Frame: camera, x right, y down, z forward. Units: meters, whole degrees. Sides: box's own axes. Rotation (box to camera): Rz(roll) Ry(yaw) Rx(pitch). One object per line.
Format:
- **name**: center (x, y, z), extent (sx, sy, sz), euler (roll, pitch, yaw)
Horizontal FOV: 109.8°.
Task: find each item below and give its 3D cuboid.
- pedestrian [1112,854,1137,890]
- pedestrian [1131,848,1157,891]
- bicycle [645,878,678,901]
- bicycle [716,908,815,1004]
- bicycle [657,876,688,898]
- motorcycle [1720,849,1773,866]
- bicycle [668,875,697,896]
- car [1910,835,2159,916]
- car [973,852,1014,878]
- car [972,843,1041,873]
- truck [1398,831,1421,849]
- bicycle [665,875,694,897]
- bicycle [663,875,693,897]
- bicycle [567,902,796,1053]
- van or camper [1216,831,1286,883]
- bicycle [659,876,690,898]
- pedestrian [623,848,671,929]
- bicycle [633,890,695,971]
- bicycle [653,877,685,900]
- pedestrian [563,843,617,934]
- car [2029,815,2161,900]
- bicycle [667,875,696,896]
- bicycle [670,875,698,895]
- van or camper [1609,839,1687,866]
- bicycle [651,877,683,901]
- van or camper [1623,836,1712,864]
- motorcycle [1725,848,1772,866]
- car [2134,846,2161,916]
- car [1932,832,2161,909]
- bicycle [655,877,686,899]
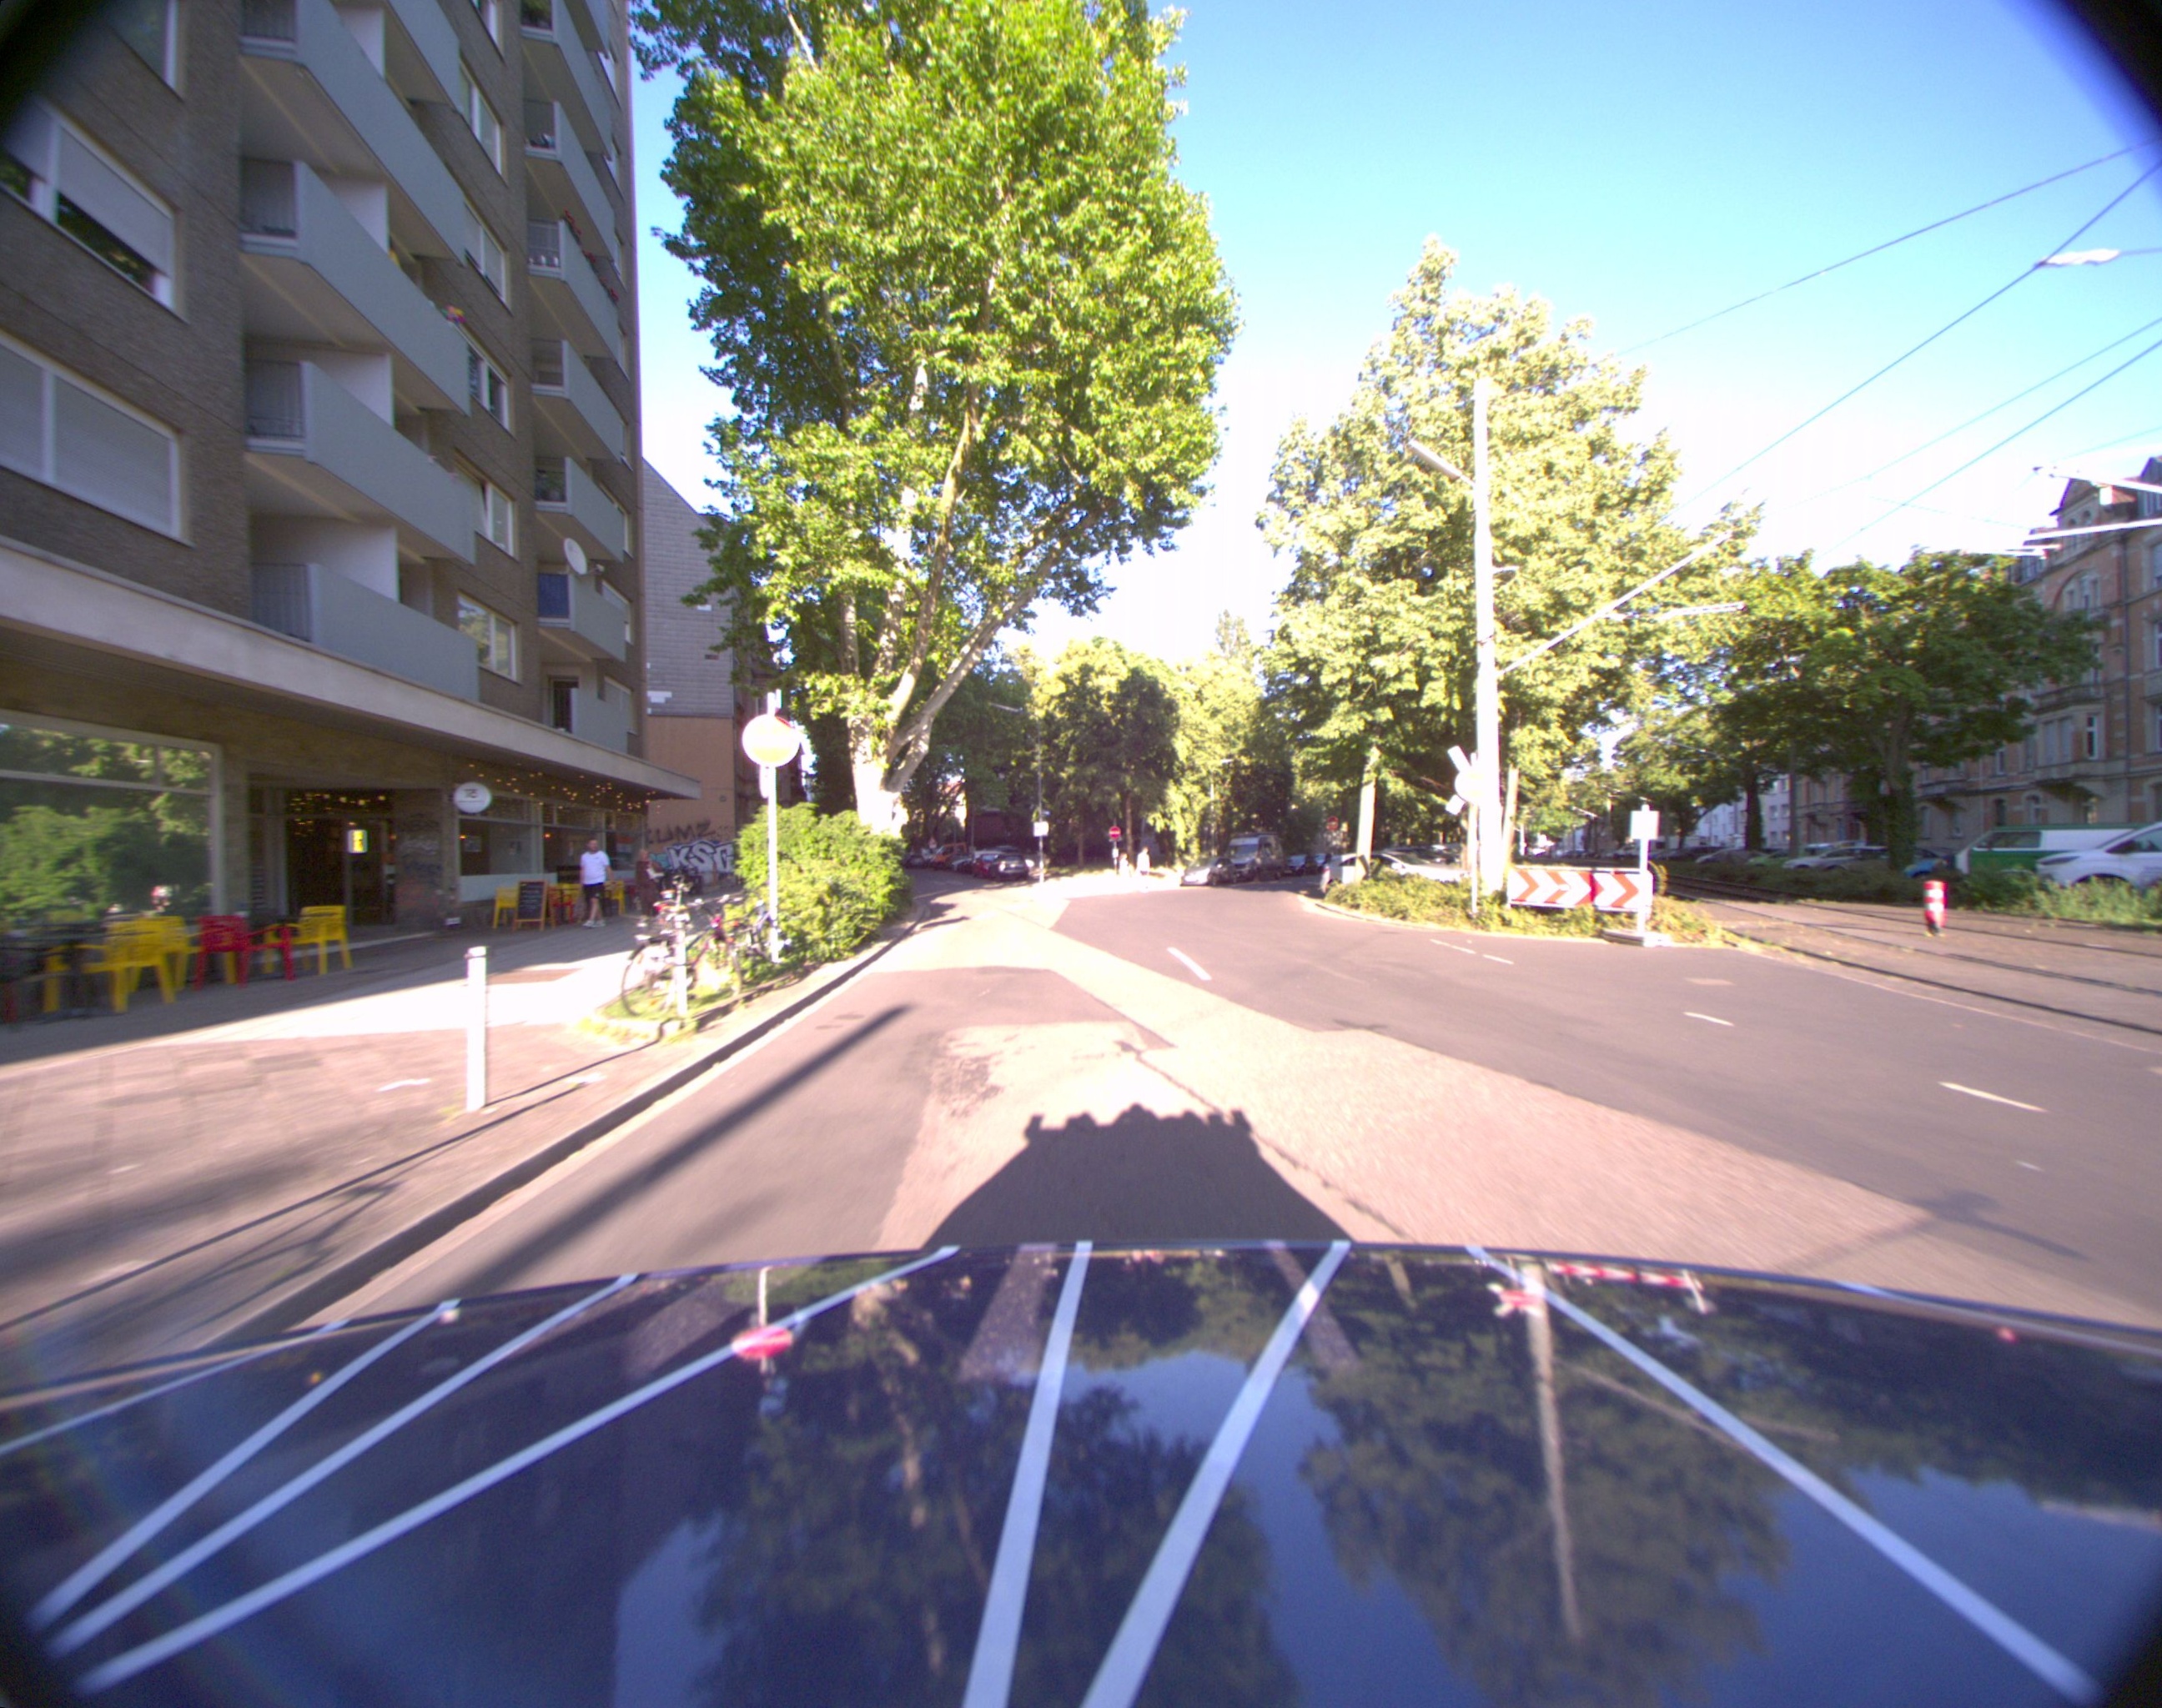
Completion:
- **pedestrian**: center (1.931, 0.797, 33.534), extent (0.812, 1.598, 0.718), euler (0, -2, 35)
- **pedestrian**: center (2.609, 0.624, 31.625), extent (0.812, 1.771, 0.718), euler (0, 1, 35)
- **bicycle**: center (-13.698, 1.156, 24.831), extent (0.896, 0.737, 0.272), euler (-1, 1, -20)
- **bicycle**: center (-3.681, 1.153, 8.998), extent (0.544, 0.899, 1.735), euler (0, 0, -4)
- **bicycle**: center (-14.154, 1.150, 26.320), extent (0.896, 0.737, 0.272), euler (-1, 1, -20)
- **motorcycle**: center (36.700, 0.197, 41.938), extent (1.021, 0.884, 1.973), euler (0, 0, -23)
- **bicycle**: center (-14.647, 1.153, 27.955), extent (0.896, 0.737, 0.272), euler (-1, 1, -20)
- **car**: center (26.255, 0.522, 21.093), extent (2.003, 2.002, 3.991), euler (0, 0, -28)
- **car**: center (-5.483, 0.618, 47.170), extent (1.745, 1.441, 4.638), euler (-2, 1, -16)
- **car**: center (-5.117, 0.263, 51.945), extent (4.403, 1.698, 1.731), euler (-4, 1, -14)
- **truck**: center (44.537, -1.823, 102.975), extent (2.297, 2.372, 6.947), euler (0, 0, 28)
- **bicycle**: center (-14.433, 1.140, 27.320), extent (0.896, 0.737, 0.272), euler (-1, 1, -20)
- **bicycle**: center (-14.319, 1.143, 26.984), extent (0.896, 0.737, 0.272), euler (-1, 1, -20)
- **bicycle**: center (-3.508, 1.023, 6.950), extent (0.639, 1.016, 2.090), euler (0, 0, 13)
- **van or camper**: center (9.772, 0.163, 43.316), extent (2.085, 2.746, 5.857), euler (0, 0, 31)
- **bicycle**: center (-14.248, 1.147, 26.640), extent (0.896, 0.737, 0.272), euler (-1, 1, -20)
- **pedestrian**: center (-9.246, 0.715, 16.207), extent (0.686, 1.682, 0.644), euler (0, 1, -8)
- **bicycle**: center (-5.819, 1.042, 10.639), extent (0.349, 1.032, 1.052), euler (0, 0, -4)
- **bicycle**: center (-13.904, 1.156, 25.652), extent (0.896, 0.737, 0.272), euler (-1, 1, -20)
- **pedestrian**: center (-9.765, 0.672, 15.122), extent (0.686, 1.763, 0.635), euler (0, 1, -8)
- **car**: center (23.586, 0.073, 15.658), extent (2.089, 1.754, 5.045), euler (0, 0, -38)
- **bicycle**: center (-14.521, 1.137, 27.646), extent (0.896, 0.737, 0.272), euler (-1, 1, -20)
- **bicycle**: center (-14.781, 1.150, 28.283), extent (0.896, 0.737, 0.272), euler (-1, 1, -20)
- **van or camper**: center (54.307, -0.160, 72.890), extent (2.004, 2.454, 5.661), euler (0, 1, -36)
- **bicycle**: center (-13.782, 1.160, 25.305), extent (0.896, 0.737, 0.272), euler (-1, 1, -20)
- **van or camper**: center (50.206, -0.349, 65.138), extent (2.311, 2.357, 5.537), euler (0, 1, -33)
- **motorcycle**: center (35.747, 0.161, 40.709), extent (1.022, 0.949, 1.722), euler (0, 0, -40)
- **car**: center (22.116, 0.511, 13.693), extent (1.720, 1.321, 3.623), euler (0, 0, -37)
- **car**: center (24.779, 0.374, 18.697), extent (2.089, 1.754, 4.824), euler (0, 0, -32)
- **bicycle**: center (-14.037, 1.154, 25.975), extent (0.896, 0.737, 0.272), euler (-1, 1, -20)
